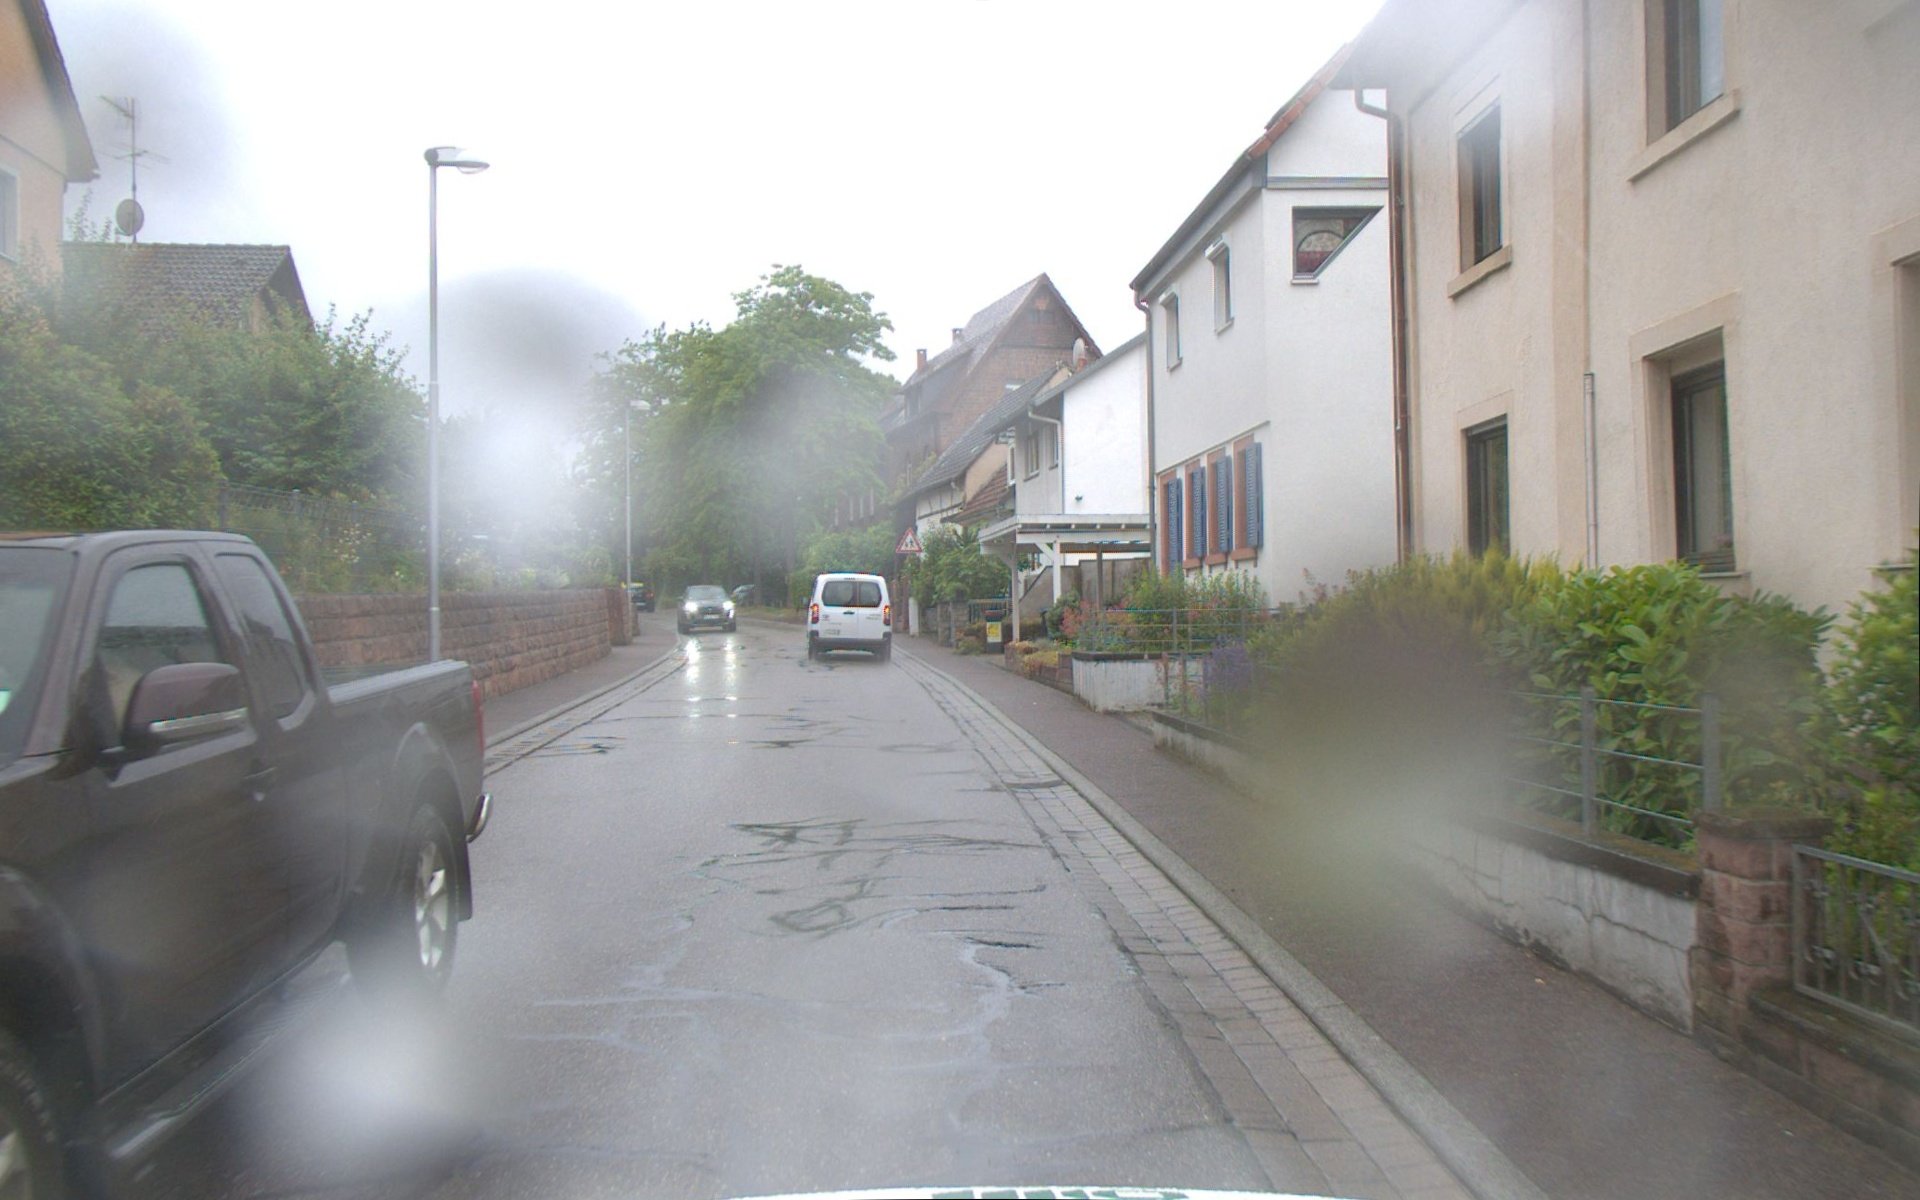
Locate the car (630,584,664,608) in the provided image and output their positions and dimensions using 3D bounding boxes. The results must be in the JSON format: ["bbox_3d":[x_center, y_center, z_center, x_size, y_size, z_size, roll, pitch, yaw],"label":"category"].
[{"bbox_3d":[-18.165,-0.219,95.910,1.680,1.401,3.985,0,0,-14],"label":"car"}]

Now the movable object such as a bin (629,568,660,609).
[{"bbox_3d":[-20.581,-0.723,107.782,1.732,2.592,4.222,0,0,-15],"label":"movable object such as a bin"}]

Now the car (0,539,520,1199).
[{"bbox_3d":[-2.696,0.776,4.579,1.798,1.702,5.193,-2,0,-4],"label":"car"}]

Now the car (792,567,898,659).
[{"bbox_3d":[-2.585,0.232,36.292,1.862,1.838,3.990,-2,1,-10],"label":"car"}]

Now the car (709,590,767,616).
[{"bbox_3d":[-14.049,0.168,104.781,1.589,1.578,3.599,-2,0,36],"label":"car"}]

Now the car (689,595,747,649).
[{"bbox_3d":[-8.060,0.691,54.937,1.670,1.573,3.841,-4,1,-11],"label":"car"}]
